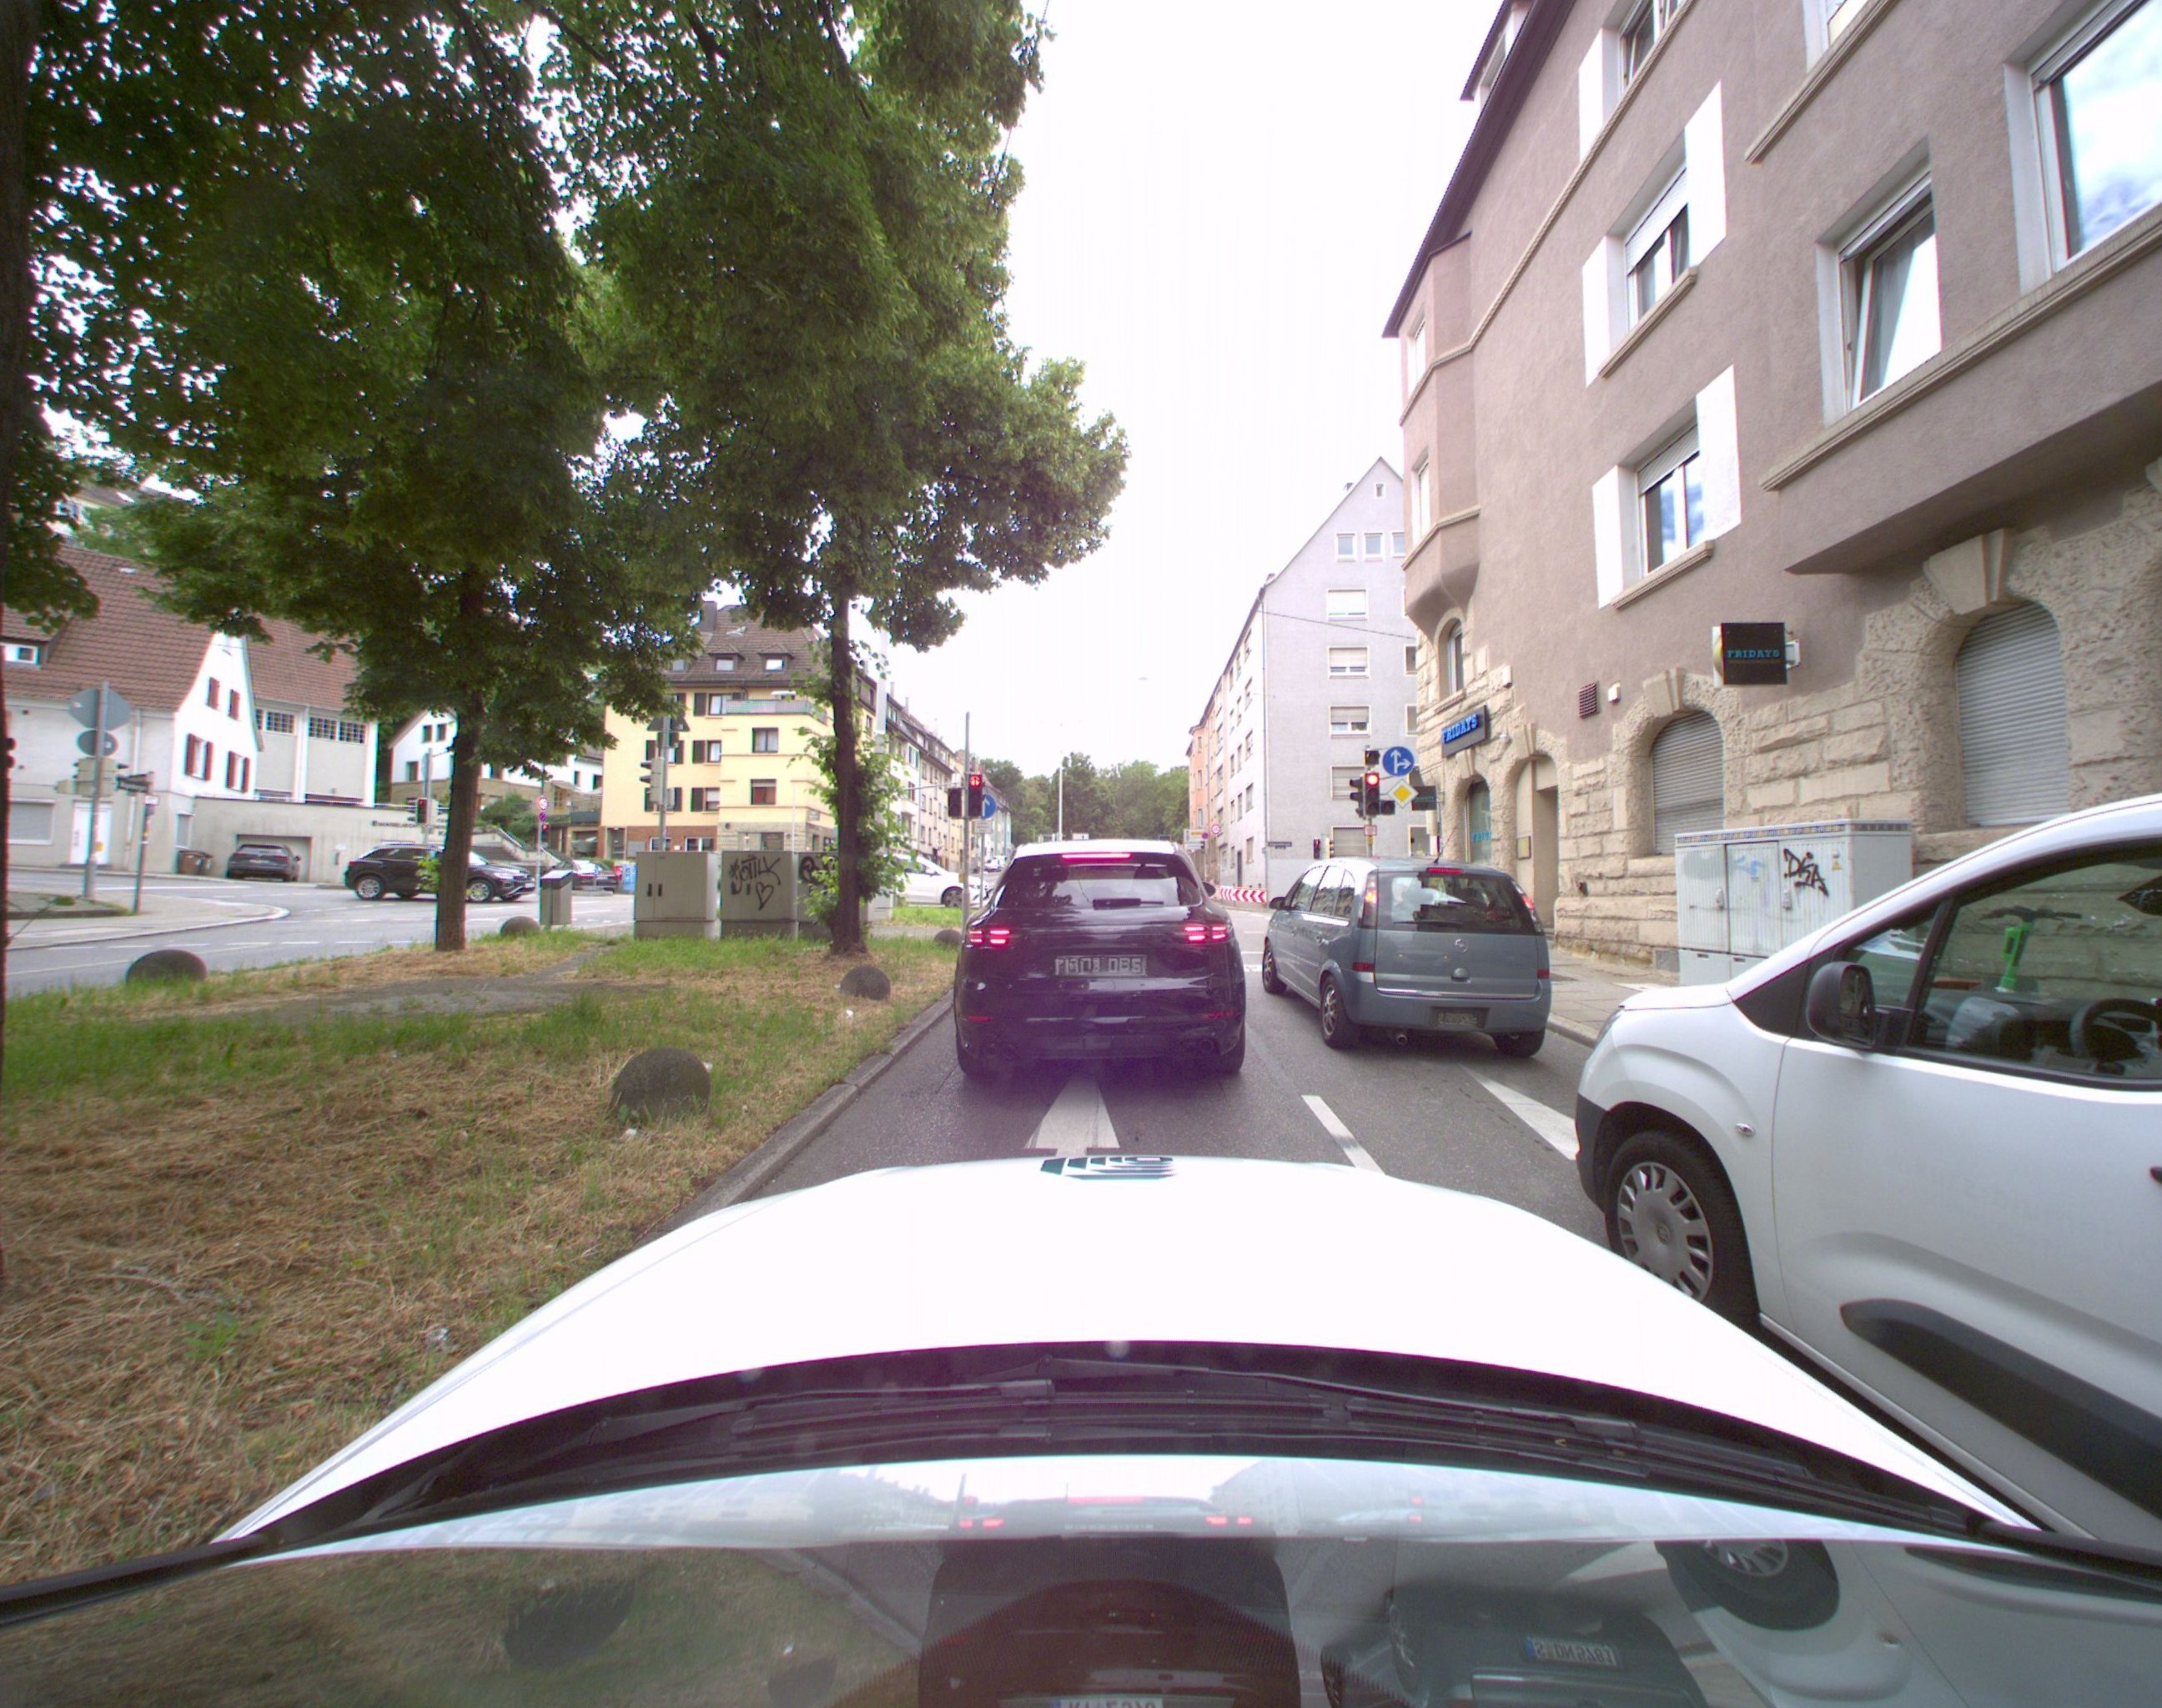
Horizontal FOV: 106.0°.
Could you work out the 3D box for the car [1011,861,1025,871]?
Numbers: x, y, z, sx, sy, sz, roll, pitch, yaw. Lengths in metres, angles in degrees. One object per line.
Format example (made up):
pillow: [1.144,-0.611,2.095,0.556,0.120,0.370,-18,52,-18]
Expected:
car: [-9.670,1.851,125.279,1.682,1.538,3.815,0,0,2]

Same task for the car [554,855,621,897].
car: [-23.546,1.019,38.784,3.477,1.596,1.881,7,4,44]

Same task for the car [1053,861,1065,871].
car: [-3.952,2.145,146.000,1.966,1.610,4.560,0,0,2]

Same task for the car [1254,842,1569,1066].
car: [2.865,0.758,7.927,1.622,1.598,3.670,3,0,2]

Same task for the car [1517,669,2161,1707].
car: [2.823,0.610,1.063,1.969,1.775,4.676,3,0,0]

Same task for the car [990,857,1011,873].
car: [-10.367,1.416,104.735,2.008,2.045,4.669,0,-1,2]

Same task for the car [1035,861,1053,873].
car: [-4.436,1.497,98.023,1.854,1.388,4.096,0,0,2]

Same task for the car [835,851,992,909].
car: [-4.787,0.747,23.710,4.242,1.594,1.688,1,-1,-5]

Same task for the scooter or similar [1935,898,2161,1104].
scooter or similar: [6.430,0.867,5.196,0.524,1.104,1.424,-1,-1,4]

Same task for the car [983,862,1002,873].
car: [-10.811,1.640,99.355,1.732,1.387,3.815,0,0,2]

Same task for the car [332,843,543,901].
car: [-17.710,0.514,22.619,4.241,1.521,1.659,1,-1,-13]

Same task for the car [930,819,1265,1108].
car: [0.158,0.663,6.821,1.948,1.674,4.001,-1,-1,2]

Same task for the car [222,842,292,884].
car: [-32.222,0.350,31.820,3.019,1.405,1.681,2,-4,42]

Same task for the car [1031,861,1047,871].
car: [-6.338,1.812,122.708,1.835,1.486,3.903,0,0,5]
